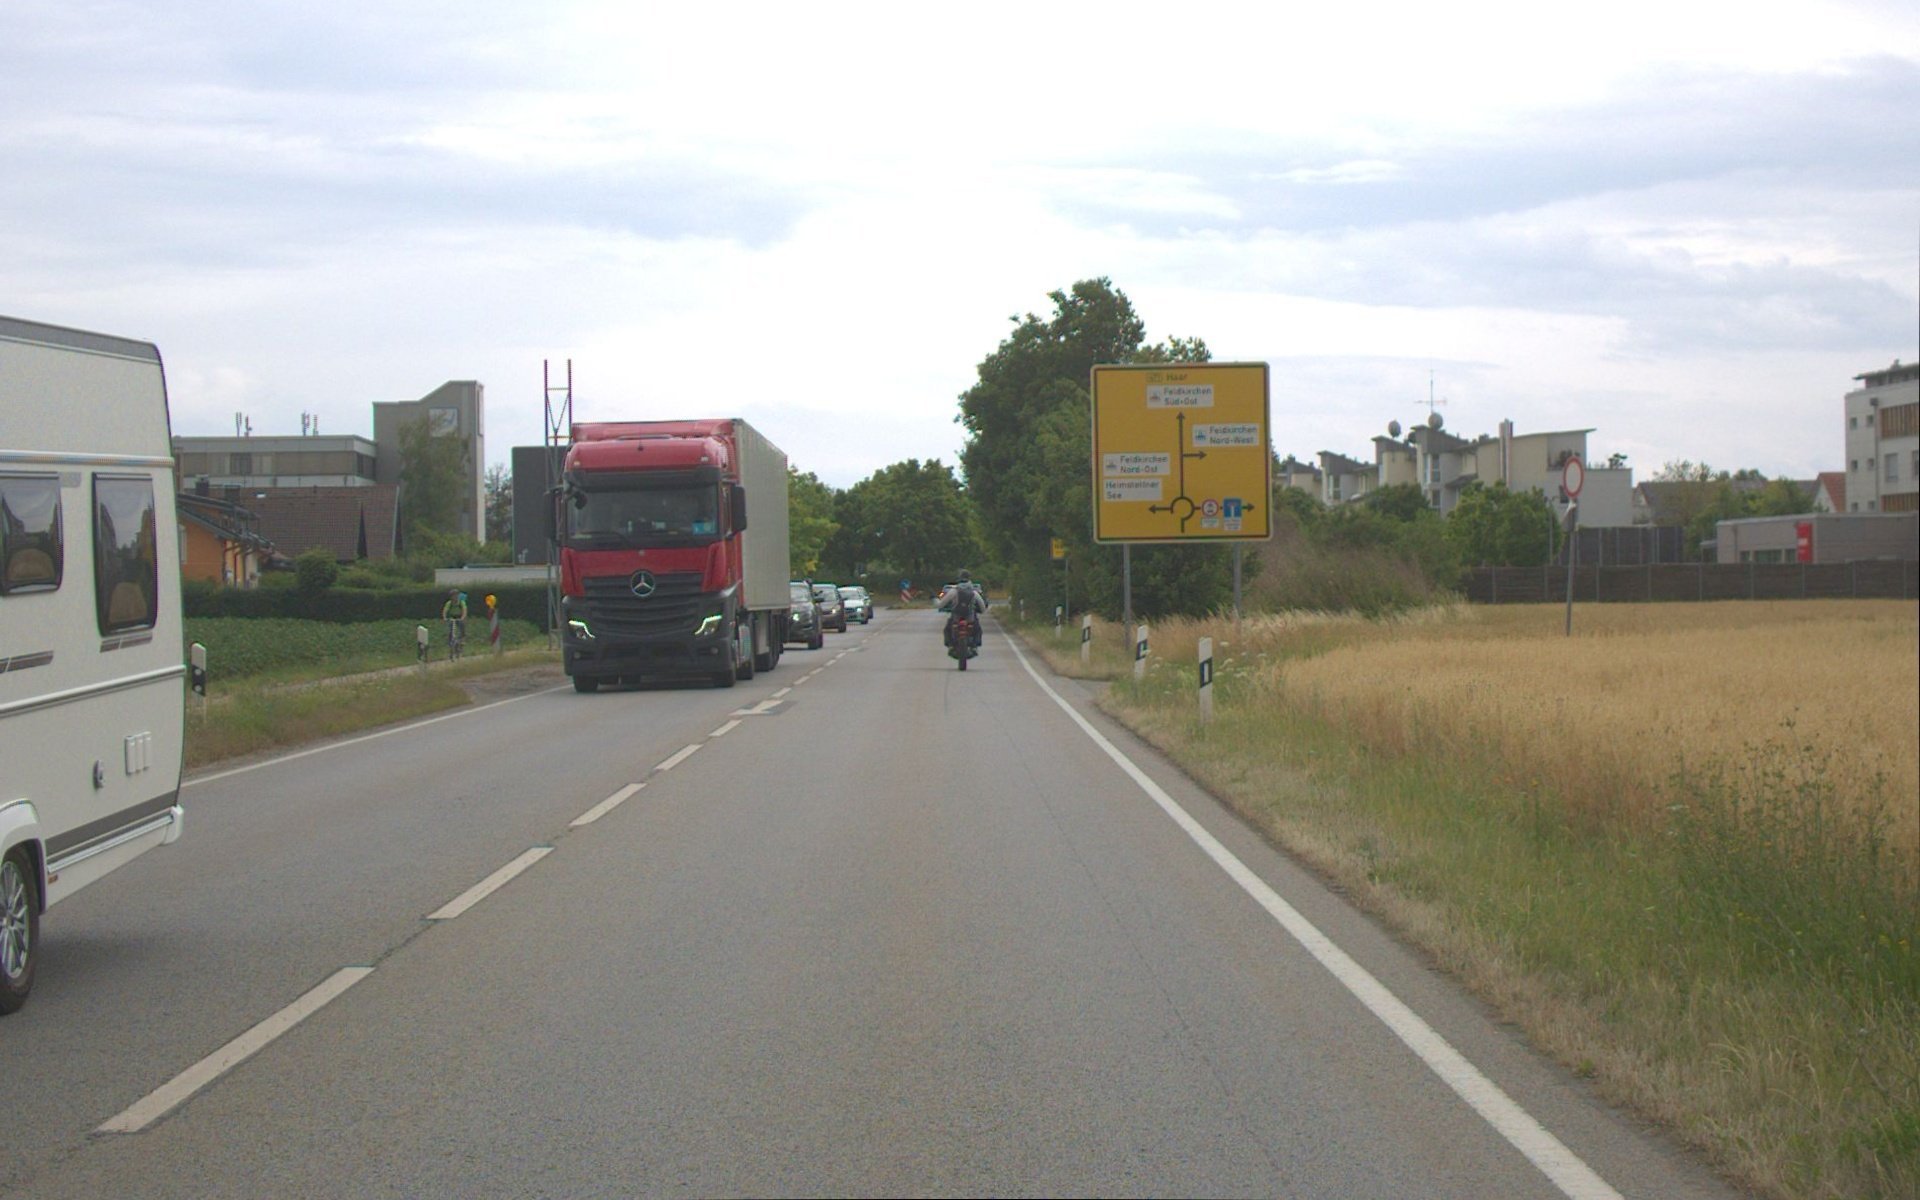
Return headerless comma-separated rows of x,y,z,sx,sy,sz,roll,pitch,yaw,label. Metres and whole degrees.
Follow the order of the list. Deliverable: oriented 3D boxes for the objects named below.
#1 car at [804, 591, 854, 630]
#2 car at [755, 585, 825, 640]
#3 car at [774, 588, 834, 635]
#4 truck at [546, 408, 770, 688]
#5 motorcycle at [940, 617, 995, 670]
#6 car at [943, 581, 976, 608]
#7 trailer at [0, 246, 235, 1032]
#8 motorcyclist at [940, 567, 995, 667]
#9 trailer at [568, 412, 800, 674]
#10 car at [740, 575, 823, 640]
-5.047,0.391,132.668,1.855,1.467,4.000,-1,0,-2,car
-4.673,0.332,95.026,1.855,1.467,4.000,-1,0,-2,car
-5.017,0.345,111.082,1.855,1.467,4.000,-1,0,-2,car
-4.539,-0.765,52.965,2.729,3.974,6.816,-1,0,0,truck
0.122,0.753,60.788,0.941,0.887,2.146,-1,0,0,motorcycle
-0.037,-0.336,194.126,1.855,1.467,4.000,-1,0,0,car
-4.491,0.148,11.661,2.324,2.720,7.843,-1,0,0,trailer
0.127,0.291,60.836,0.941,1.744,1.200,-1,0,0,motorcyclist
-4.516,-0.898,59.138,2.729,3.932,13.781,-1,0,0,trailer
-4.198,0.165,81.245,1.855,1.467,4.000,-1,0,-2,car
